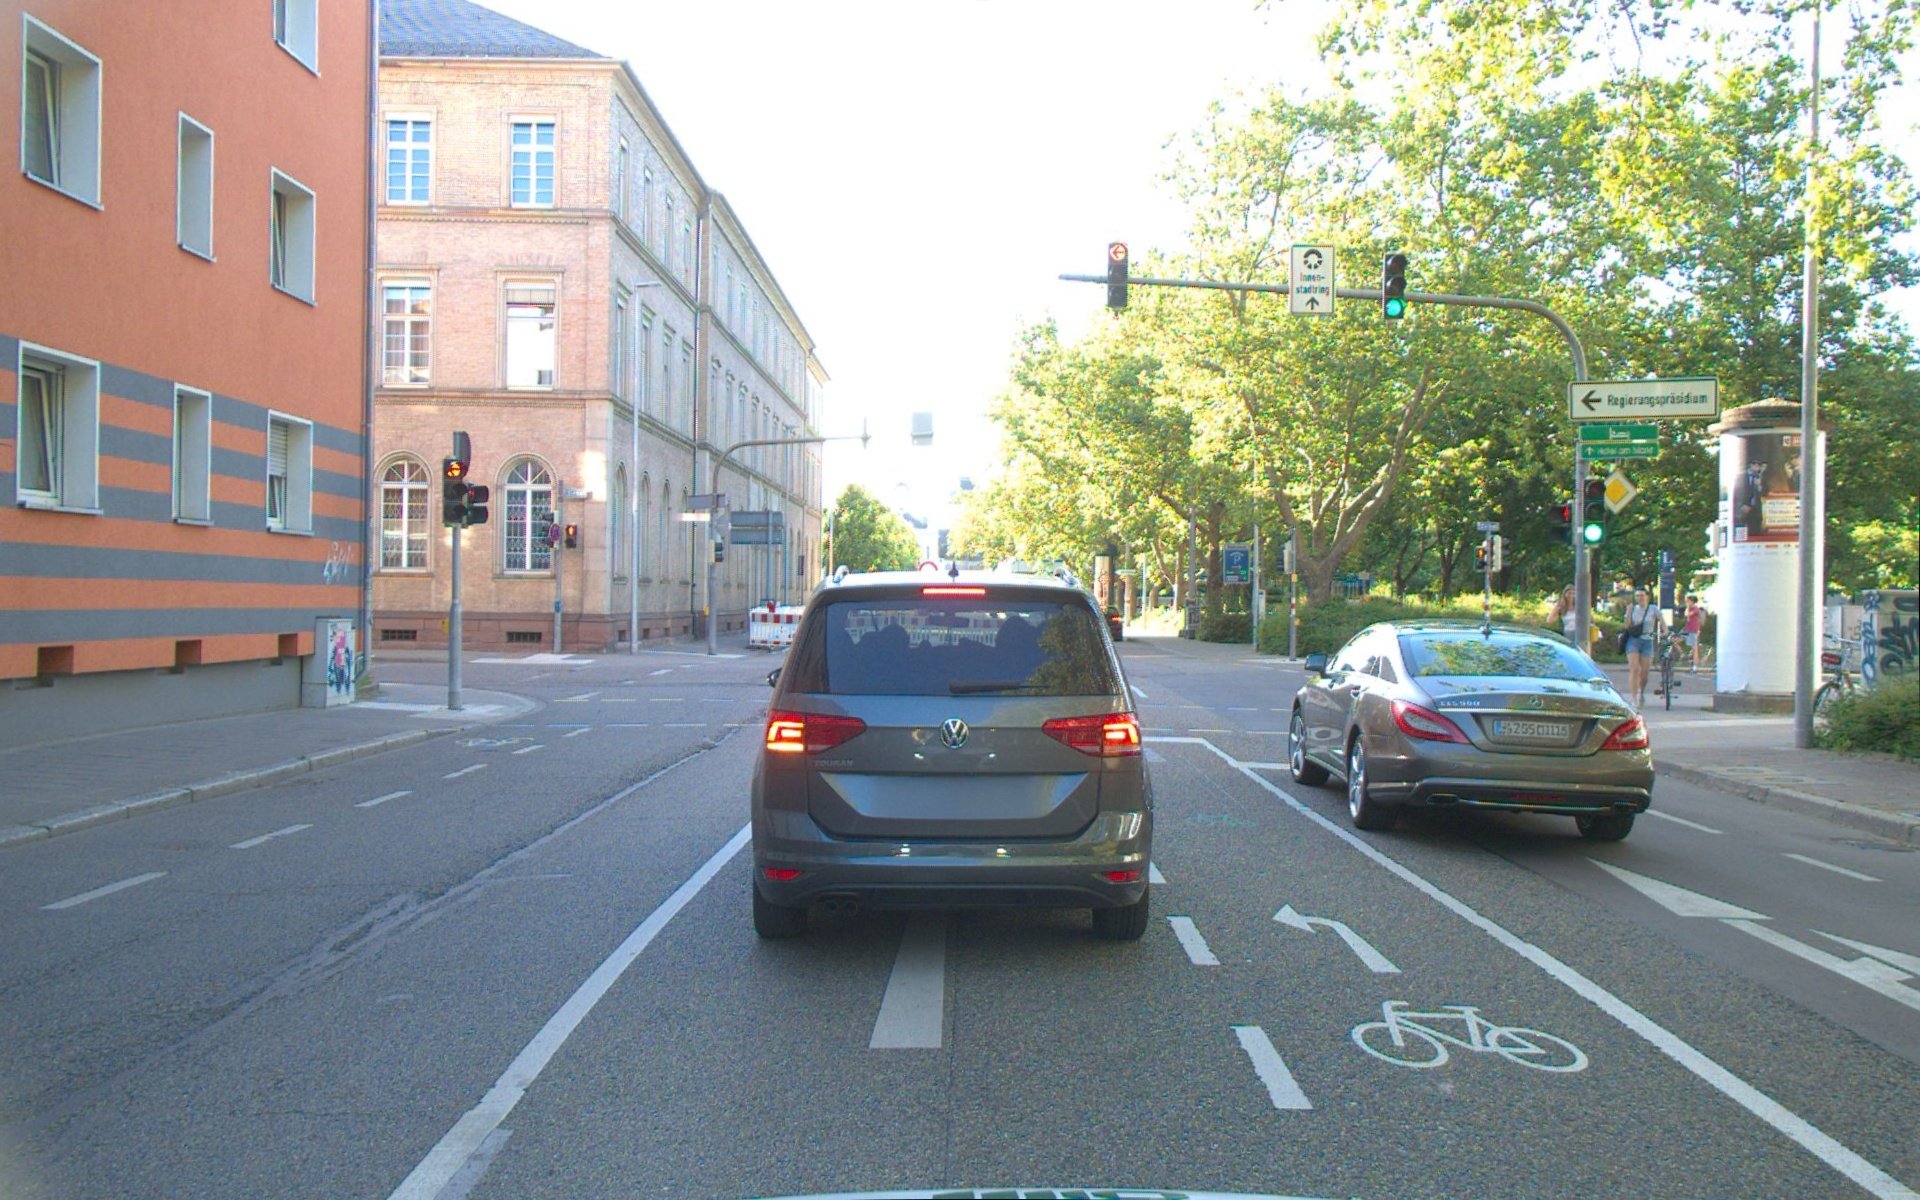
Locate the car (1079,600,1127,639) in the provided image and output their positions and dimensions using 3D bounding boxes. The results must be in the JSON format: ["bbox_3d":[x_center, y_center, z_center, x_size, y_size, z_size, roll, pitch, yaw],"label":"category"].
[{"bbox_3d":[5.885,0.796,68.481,1.655,1.465,3.902,3,0,1],"label":"car"}]

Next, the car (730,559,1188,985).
[{"bbox_3d":[0.058,0.671,8.425,1.772,1.640,4.001,0,0,2],"label":"car"}]

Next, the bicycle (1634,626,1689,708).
[{"bbox_3d":[10.195,0.956,24.076,0.513,1.119,1.742,1,0,16],"label":"bicycle"}]

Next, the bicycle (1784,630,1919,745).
[{"bbox_3d":[10.202,0.966,18.271,1.935,1.210,0.528,1,0,-1],"label":"bicycle"}]

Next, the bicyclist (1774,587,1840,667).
[{"bbox_3d":[18.008,0.568,35.173,0.944,1.643,0.870,1,0,2],"label":"bicyclist"}]

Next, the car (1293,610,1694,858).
[{"bbox_3d":[3.713,0.831,12.373,1.804,1.454,4.519,1,0,4],"label":"car"}]

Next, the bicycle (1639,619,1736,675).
[{"bbox_3d":[16.942,1.094,38.554,1.989,1.242,0.599,1,0,0],"label":"bicycle"}]

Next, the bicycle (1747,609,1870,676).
[{"bbox_3d":[18.015,0.893,35.143,2.241,1.349,0.660,1,0,1],"label":"bicycle"}]

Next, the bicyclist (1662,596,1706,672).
[{"bbox_3d":[16.870,0.788,38.552,0.695,1.727,0.675,1,0,0],"label":"bicyclist"}]

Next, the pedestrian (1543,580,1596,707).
[{"bbox_3d":[9.016,0.636,24.477,0.717,1.840,0.909,-1,-1,20],"label":"pedestrian"}]

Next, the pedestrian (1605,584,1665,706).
[{"bbox_3d":[9.849,0.651,24.161,0.668,1.727,0.971,1,0,15],"label":"pedestrian"}]
